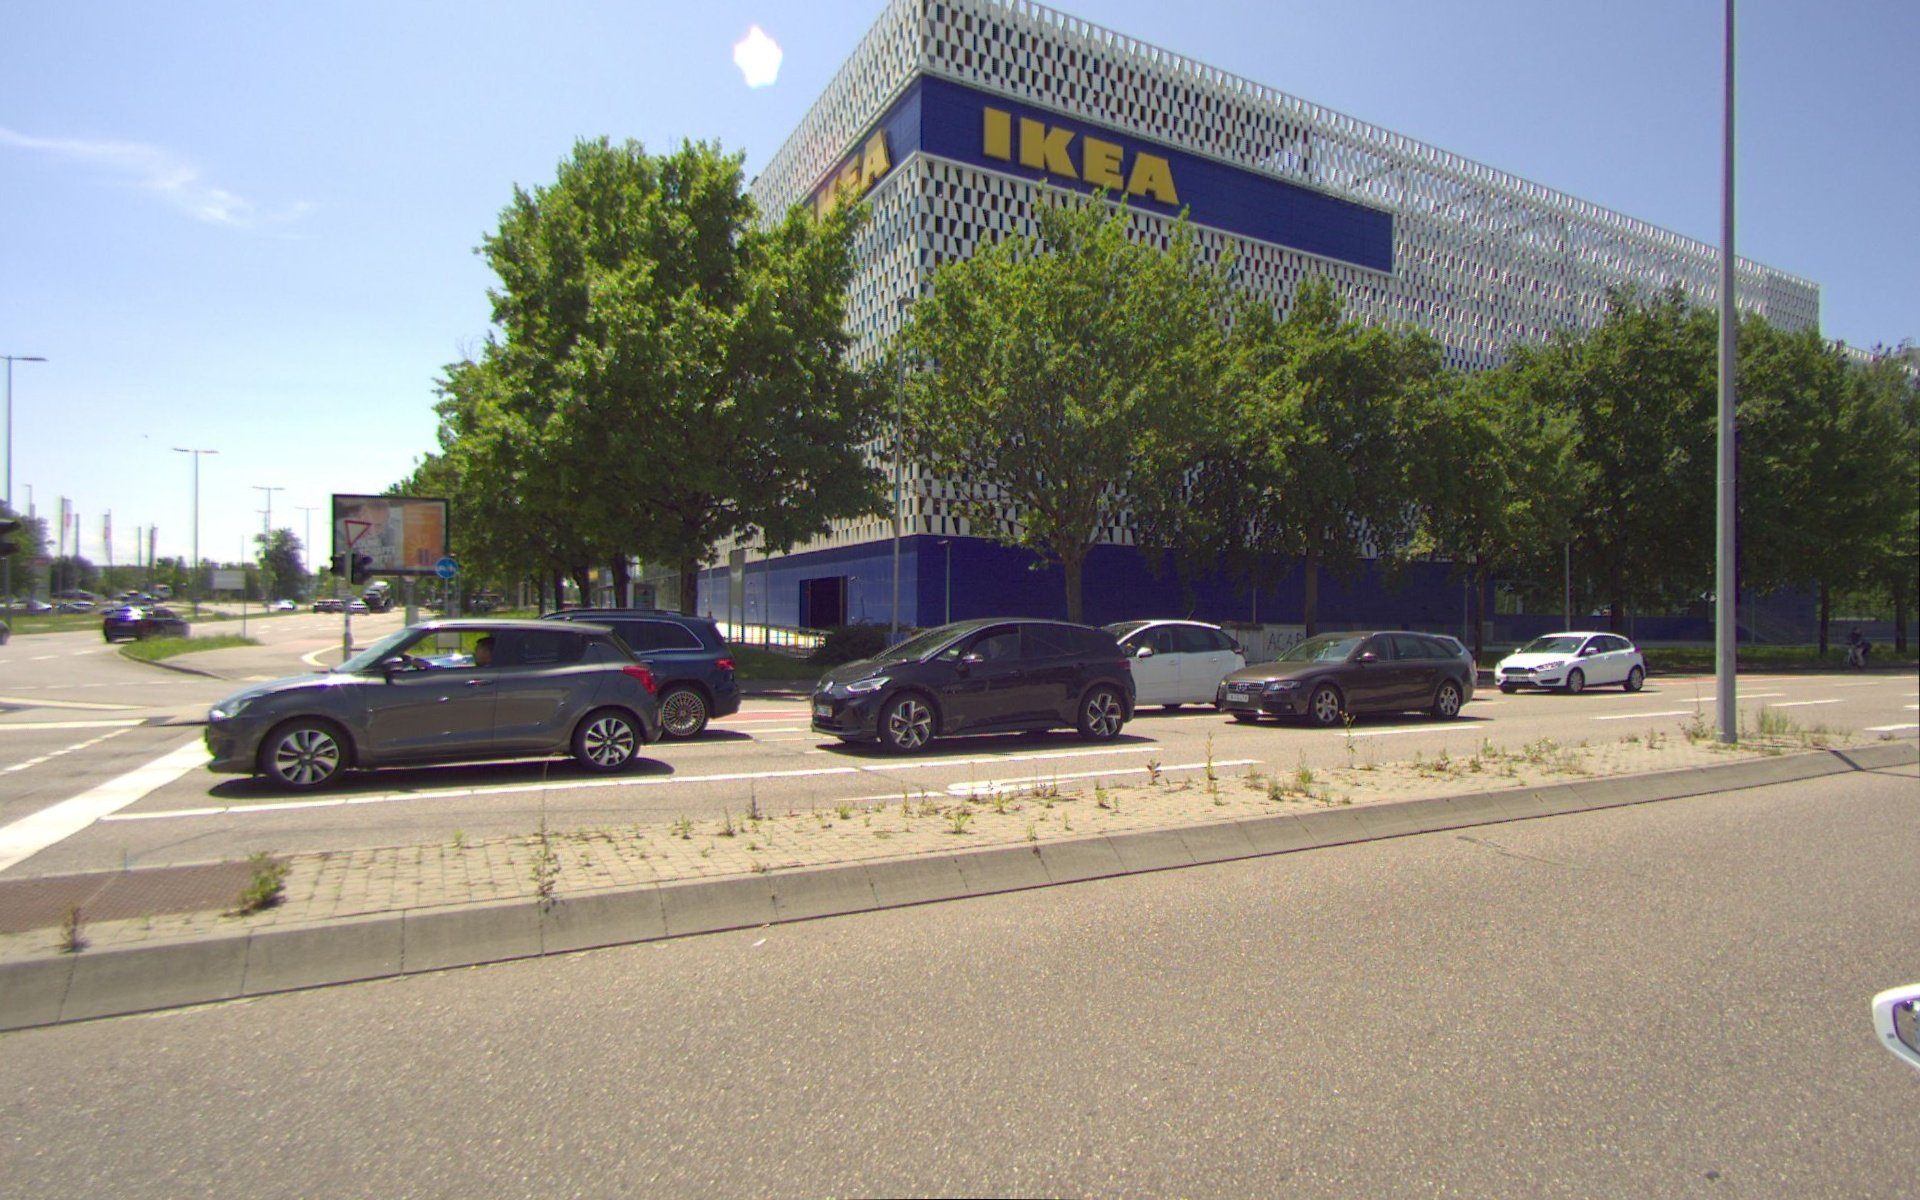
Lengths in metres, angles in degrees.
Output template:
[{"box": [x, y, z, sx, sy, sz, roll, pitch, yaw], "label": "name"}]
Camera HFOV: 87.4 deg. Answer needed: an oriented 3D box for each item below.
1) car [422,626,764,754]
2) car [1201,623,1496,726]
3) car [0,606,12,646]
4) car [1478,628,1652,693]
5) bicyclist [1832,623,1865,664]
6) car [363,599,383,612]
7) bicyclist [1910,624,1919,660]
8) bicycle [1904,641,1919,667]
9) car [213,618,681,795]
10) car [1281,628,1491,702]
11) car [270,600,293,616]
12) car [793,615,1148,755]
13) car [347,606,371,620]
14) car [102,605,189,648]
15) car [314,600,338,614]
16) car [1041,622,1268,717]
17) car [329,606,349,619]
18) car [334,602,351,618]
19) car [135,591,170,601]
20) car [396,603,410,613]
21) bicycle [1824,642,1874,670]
[{"box": [-4.748, 1.092, 13.126, 3.989, 1.443, 1.653, 2, -2, -29], "label": "car"}, {"box": [6.236, 1.143, 16.033, 4.658, 1.464, 1.721, 1, -3, -26], "label": "car"}, {"box": [-35.008, 0.925, 35.083, 1.676, 1.441, 3.982, 0, -1, -27], "label": "car"}, {"box": [14.820, 1.449, 24.573, 4.398, 1.464, 1.719, 2, -3, -30], "label": "car"}, {"box": [37.436, 1.811, 42.305, 0.939, 1.708, 0.742, 1, -1, -26], "label": "bicyclist"}, {"box": [-74.980, 0.683, 128.395, 1.975, 1.572, 3.972, 1, -1, -27], "label": "car"}, {"box": [43.075, 1.859, 44.885, 0.873, 1.603, 0.635, 1, -1, -26], "label": "bicyclist"}, {"box": [43.047, 2.400, 44.867, 1.945, 1.149, 0.635, 1, -1, -27], "label": "bicycle"}, {"box": [-4.707, 0.927, 9.623, 3.669, 1.407, 1.637, 2, -3, -28], "label": "car"}, {"box": [9.153, 1.327, 21.493, 4.568, 1.441, 1.738, 1, -2, -30], "label": "car"}, {"box": [-83.866, 1.005, 124.172, 1.793, 2.040, 3.972, 1, -1, -27], "label": "car"}, {"box": [0.172, 1.009, 12.680, 4.190, 1.525, 1.720, 2, -3, -28], "label": "car"}, {"box": [-68.961, 1.526, 115.355, 1.974, 1.572, 3.974, 1, -1, -26], "label": "car"}, {"box": [-34.611, 1.170, 42.819, 1.779, 1.459, 4.530, -5, -3, -26], "label": "car"}, {"box": [-73.557, 0.779, 116.541, 1.899, 1.572, 3.586, 1, -1, -25], "label": "car"}, {"box": [3.563, 1.207, 18.253, 3.868, 1.564, 1.719, 2, -2, -29], "label": "car"}, {"box": [-75.694, 1.501, 122.422, 1.623, 1.572, 3.400, 1, -1, -25], "label": "car"}, {"box": [-78.701, 1.295, 128.035, 1.608, 1.938, 3.472, 0, -1, -28], "label": "car"}, {"box": [-120.892, -0.579, 150.453, 3.972, 1.441, 1.680, 1, -1, -37], "label": "car"}, {"box": [-82.956, 1.201, 149.503, 1.532, 1.572, 3.400, 1, -1, -25], "label": "car"}, {"box": [37.457, 2.335, 42.312, 2.402, 1.140, 0.737, 1, -1, -26], "label": "bicycle"}]
